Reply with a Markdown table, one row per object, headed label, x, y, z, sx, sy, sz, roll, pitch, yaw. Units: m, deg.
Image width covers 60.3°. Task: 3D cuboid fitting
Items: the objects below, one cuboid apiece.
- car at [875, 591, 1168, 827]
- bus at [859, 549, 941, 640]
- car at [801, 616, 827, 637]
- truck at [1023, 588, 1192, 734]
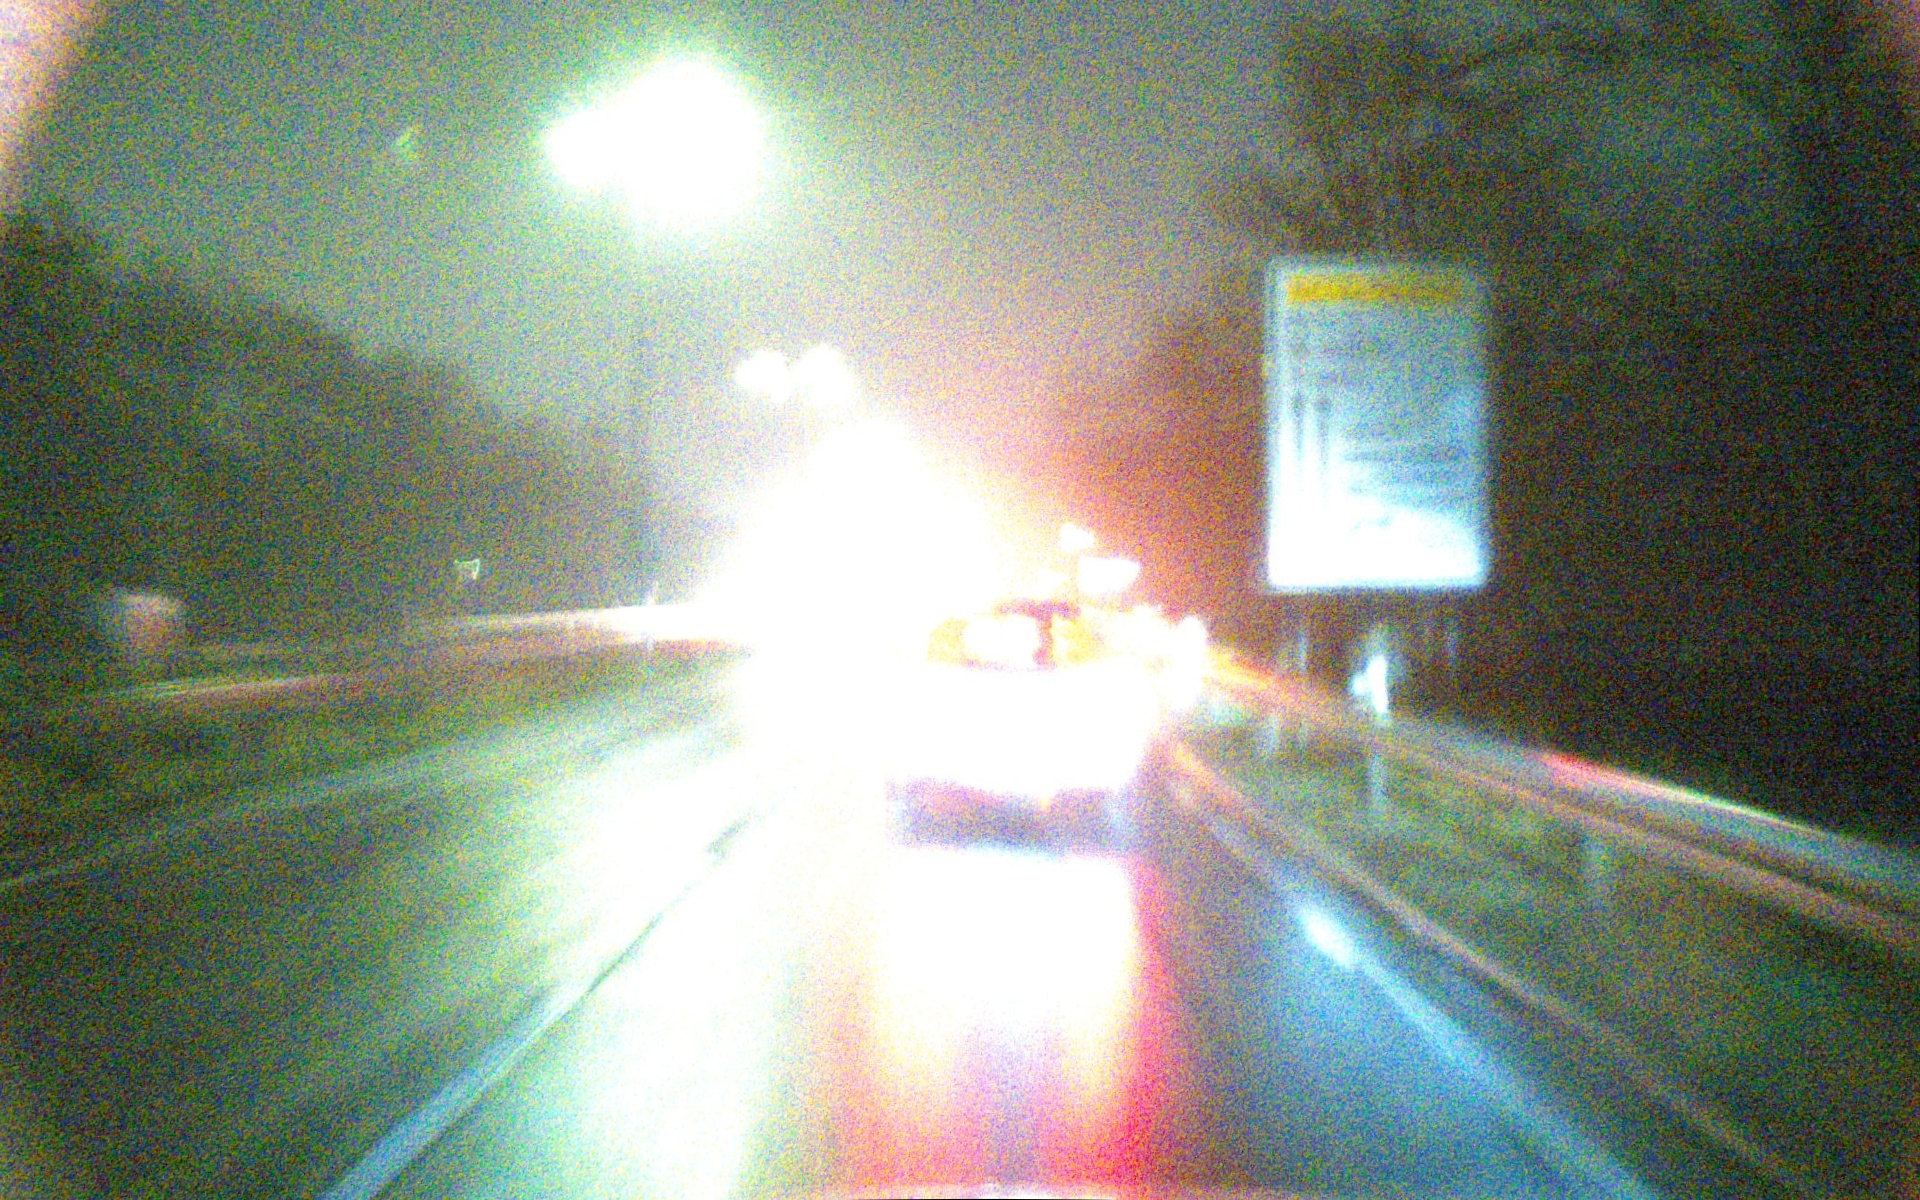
| label | x | y | z | sx | sy | sz | roll | pitch | yaw |
| --- | --- | --- | --- | --- | --- | --- | --- | --- | --- |
| car | 0.477 | 0.733 | 12.702 | 1.904 | 1.517 | 3.717 | 1 | -1 | 2 |
| bus | -2.203 | -0.197 | 63.877 | 2.687 | 3.178 | 9.201 | 2 | 0 | 0 |
| car | -11.434 | 2.111 | 129.850 | 1.567 | 1.579 | 3.834 | 2 | -1 | 1 |
| truck | 2.961 | 1.214 | 33.925 | 3.005 | 2.573 | 7.169 | 2 | -1 | 4 |
